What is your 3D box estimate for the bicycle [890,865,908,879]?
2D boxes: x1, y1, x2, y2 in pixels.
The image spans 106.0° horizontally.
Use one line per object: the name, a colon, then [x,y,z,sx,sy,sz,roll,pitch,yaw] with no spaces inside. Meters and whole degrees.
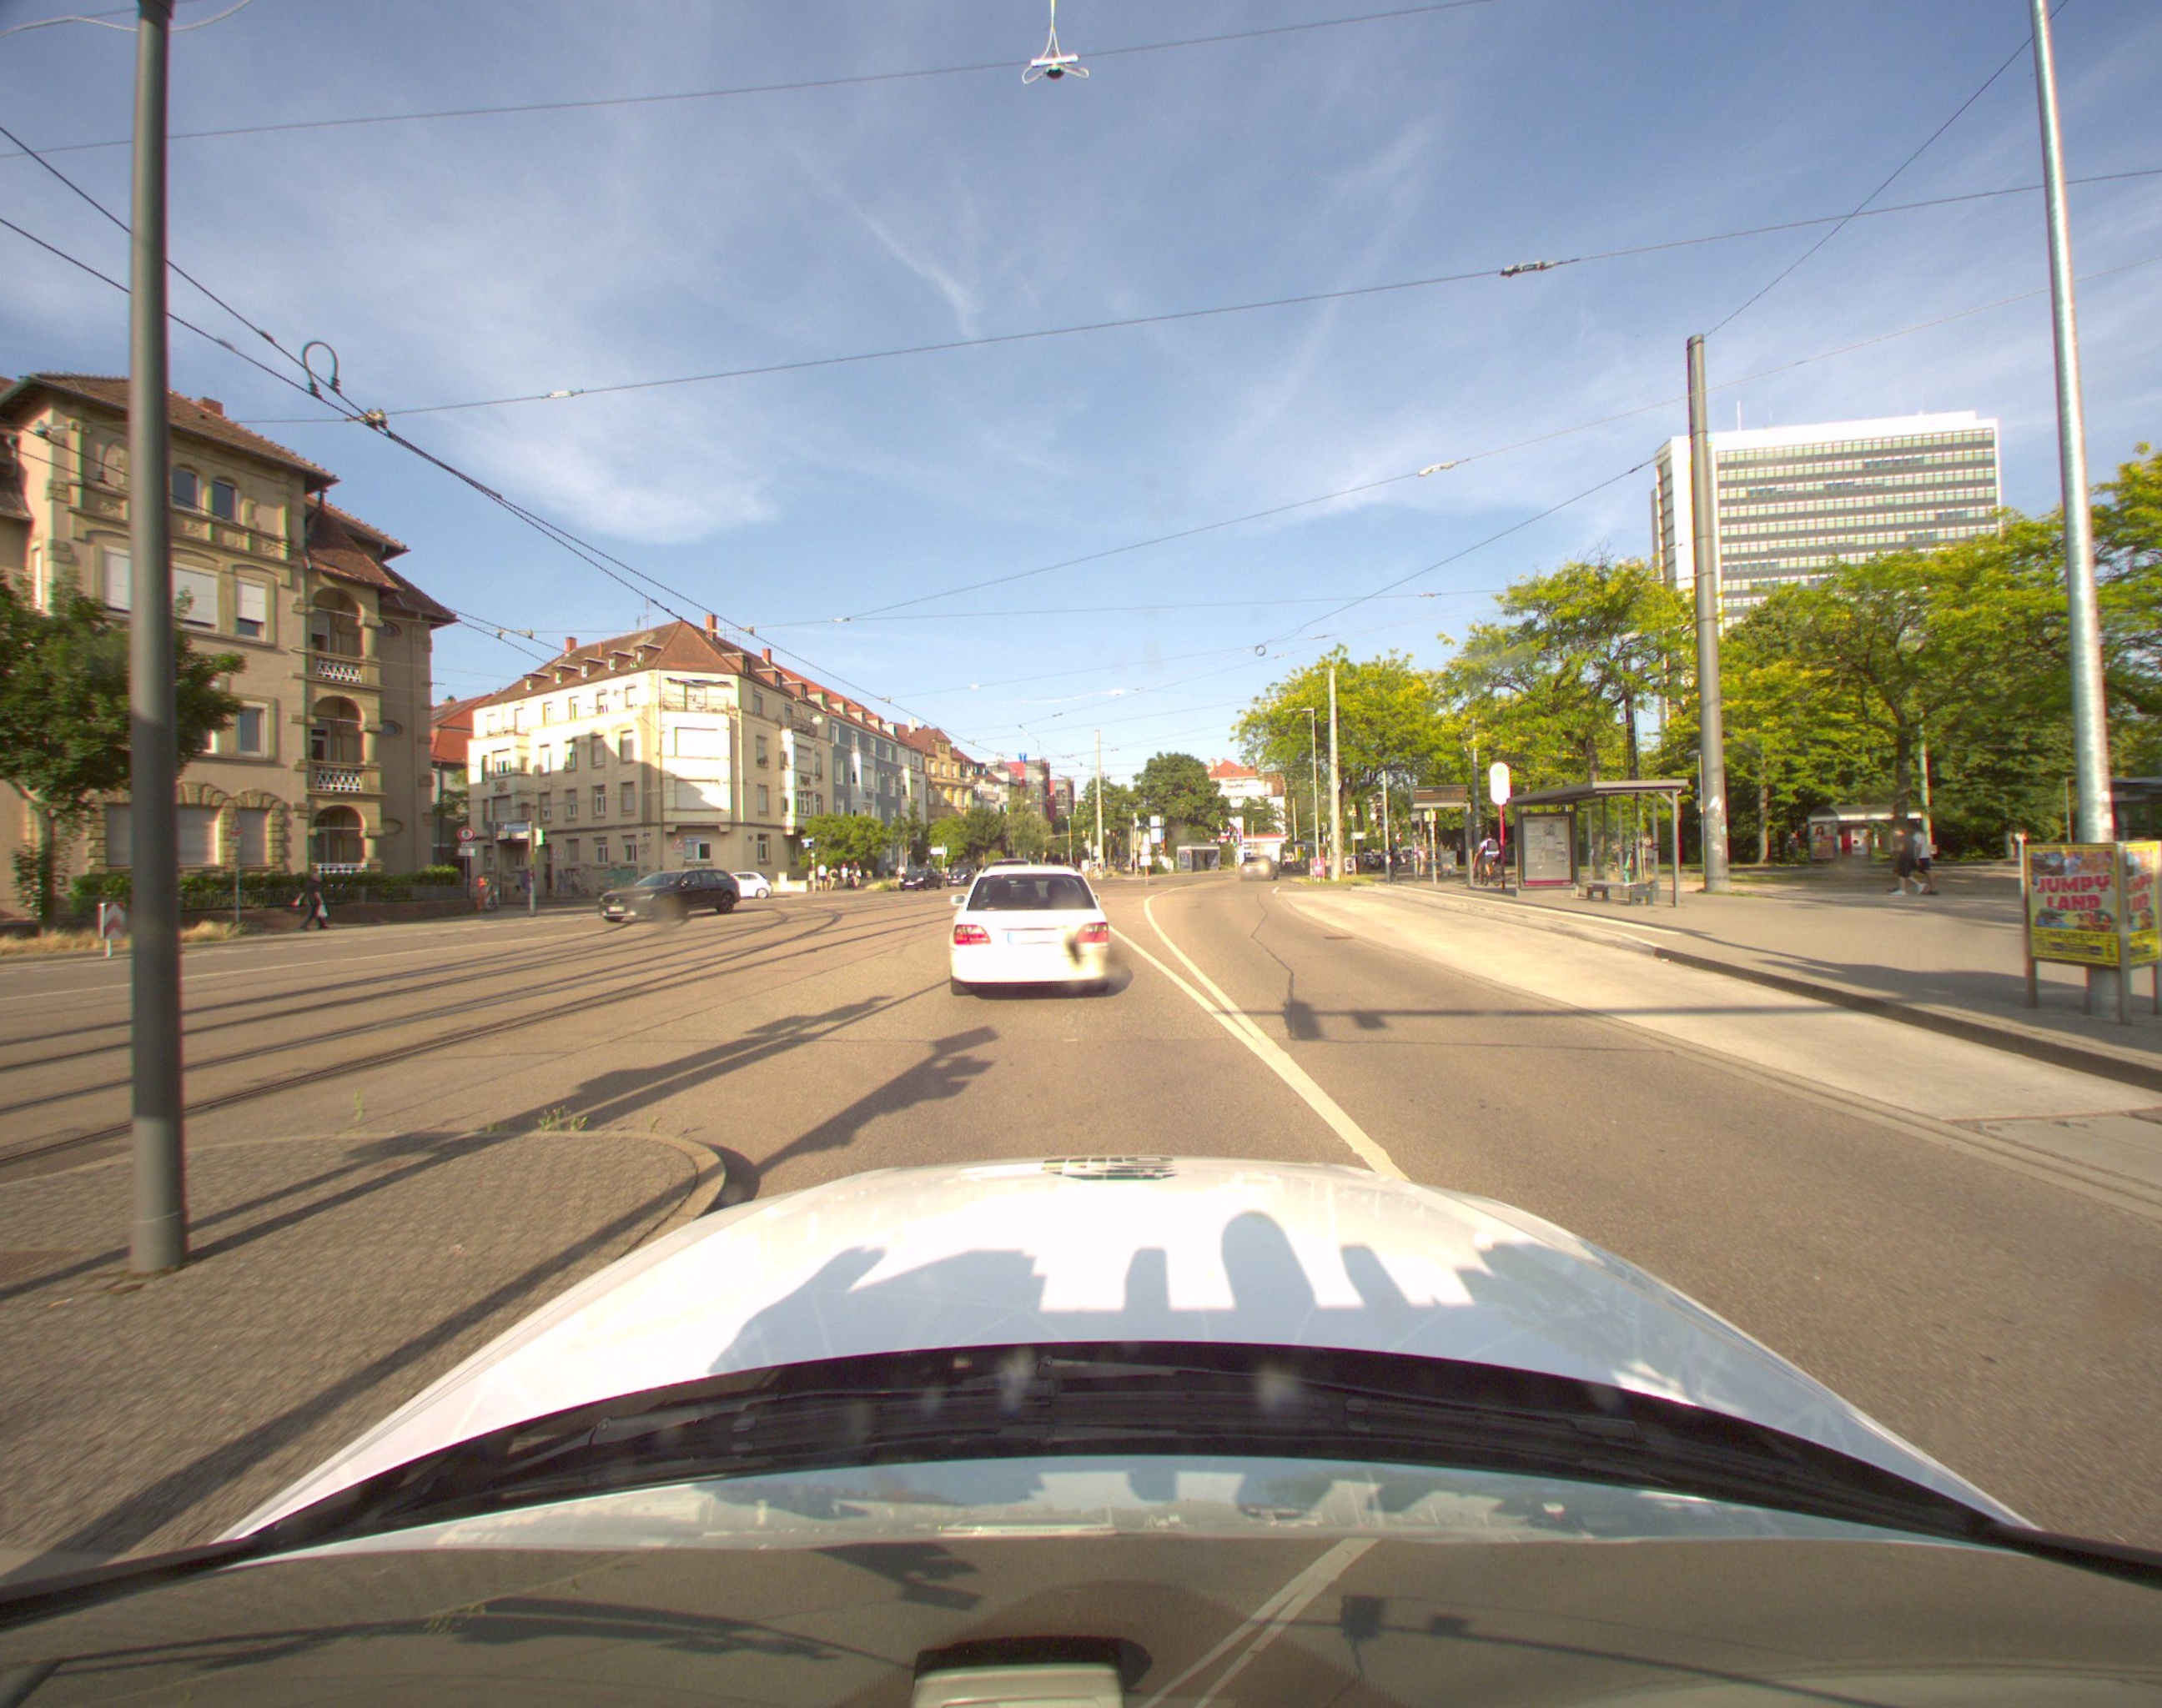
bicycle: [-13.537,1.355,60.621,0.766,0.965,2.035,-2,-1,3]

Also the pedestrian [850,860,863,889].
pedestrian: [-15.095,1.375,54.776,0.581,1.881,0.628,-2,-1,6]

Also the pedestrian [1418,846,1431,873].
pedestrian: [21.476,0.338,50.854,0.636,1.665,0.694,-2,-1,17]

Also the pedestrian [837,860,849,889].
pedestrian: [-15.957,1.367,54.617,0.581,1.881,0.627,-2,-1,5]

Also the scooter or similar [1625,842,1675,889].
scooter or similar: [15.313,0.319,21.932,0.351,1.232,1.131,-1,-1,-13]

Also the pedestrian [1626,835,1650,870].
pedestrian: [26.655,-0.060,38.960,0.638,1.665,0.691,-2,-1,1]

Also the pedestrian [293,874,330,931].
pedestrian: [-23.079,1.445,24.432,0.672,1.651,0.608,-2,-1,28]

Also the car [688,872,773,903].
car: [-18.641,1.758,43.516,4.001,1.457,1.788,-2,-1,-20]

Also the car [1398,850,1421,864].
car: [38.393,0.369,95.031,1.836,1.515,4.025,-4,-1,30]

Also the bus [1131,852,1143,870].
bus: [8.433,1.028,122.296,1.790,2.555,4.003,1,-1,3]

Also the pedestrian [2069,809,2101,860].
pedestrian: [37.593,-0.727,30.497,0.461,1.868,0.602,1,-2,-16]

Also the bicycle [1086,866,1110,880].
bicycle: [1.413,1.578,66.827,1.907,0.994,0.727,-3,-1,1]

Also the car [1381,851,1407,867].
car: [32.976,0.518,85.793,1.836,1.515,4.025,-4,-1,30]

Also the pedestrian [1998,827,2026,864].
pedestrian: [46.557,-0.430,40.738,0.666,1.800,0.613,0,-1,15]

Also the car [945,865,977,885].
car: [-9.174,1.575,62.475,1.626,1.433,3.633,-2,-1,5]

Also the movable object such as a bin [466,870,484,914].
movable object such as a bin: [-24.530,1.521,32.976,0.265,1.709,2.360,-1,-1,-29]

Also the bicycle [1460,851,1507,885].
bicycle: [13.924,0.476,28.236,0.638,1.088,1.940,-4,-1,1]

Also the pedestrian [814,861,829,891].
pedestrian: [-16.668,1.404,52.262,0.655,1.881,0.627,-2,-1,5]

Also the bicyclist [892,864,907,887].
bicyclist: [-13.548,1.567,60.783,0.757,1.668,1.168,-2,-1,2]

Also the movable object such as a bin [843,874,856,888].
movable object such as a bin: [-15.792,1.854,55.470,0.579,0.947,0.665,-2,-1,11]

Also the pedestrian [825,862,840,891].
pedestrian: [-15.961,1.421,52.312,0.670,1.848,0.651,-2,-1,9]

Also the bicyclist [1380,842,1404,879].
bicyclist: [15.575,0.338,40.792,0.716,1.746,1.142,-5,-1,5]

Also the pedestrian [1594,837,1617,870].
pedestrian: [26.132,-0.005,40.555,0.638,1.610,0.691,-2,-1,1]

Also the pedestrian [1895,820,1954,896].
pedestrian: [21.505,0.103,20.779,0.674,1.898,0.872,1,-1,-26]

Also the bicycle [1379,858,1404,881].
bicycle: [15.648,0.792,41.066,0.637,1.088,1.736,-4,-1,5]

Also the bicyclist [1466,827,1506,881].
bicyclist: [13.871,0.006,27.929,0.647,1.746,1.140,-5,-1,0]

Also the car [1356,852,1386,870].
car: [26.751,0.598,74.981,1.836,1.515,4.025,-4,-1,30]

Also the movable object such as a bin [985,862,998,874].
movable object such as a bin: [-10.903,1.748,99.717,1.531,1.421,1.082,-2,-1,-6]

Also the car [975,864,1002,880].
car: [-8.653,1.666,76.381,1.681,1.441,4.006,-2,0,5]

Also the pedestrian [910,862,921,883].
pedestrian: [-14.102,1.568,69.371,0.635,1.751,0.912,-2,-1,4]

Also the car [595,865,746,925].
car: [-12.516,1.200,25.255,1.757,1.494,4.754,-2,1,7]

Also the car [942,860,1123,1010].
car: [-0.697,0.837,10.167,1.833,1.501,3.806,0,-1,-7]

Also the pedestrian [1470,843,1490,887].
pedestrian: [16.451,0.439,33.579,0.574,1.777,0.589,1,-1,9]

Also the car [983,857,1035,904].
car: [-2.571,0.924,29.774,1.637,1.600,3.812,0,-1,-2]

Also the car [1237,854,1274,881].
car: [10.958,0.815,50.868,1.820,1.600,3.833,0,-1,19]

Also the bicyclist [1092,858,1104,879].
bicyclist: [1.389,1.209,66.827,0.896,1.699,0.732,-3,-1,1]

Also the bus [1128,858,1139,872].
bus: [8.882,1.921,137.565,1.790,2.333,4.002,1,-1,2]

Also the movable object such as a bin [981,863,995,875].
movable object such as a bin: [-11.251,1.803,98.273,1.601,1.421,1.082,-2,-1,-6]

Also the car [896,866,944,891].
car: [-10.166,1.543,51.610,1.757,1.433,4.008,-2,-1,8]

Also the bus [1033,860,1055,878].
bus: [-3.612,1.467,80.572,1.837,1.636,4.160,-2,-1,1]

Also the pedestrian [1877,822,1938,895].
pedestrian: [20.600,0.117,20.312,0.673,1.777,0.874,1,-1,-18]

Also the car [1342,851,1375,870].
car: [23.999,0.556,70.354,1.835,1.515,4.025,-4,-1,31]

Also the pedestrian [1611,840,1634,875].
pedestrian: [26.428,0.161,39.737,0.638,1.665,0.691,-2,-1,1]
